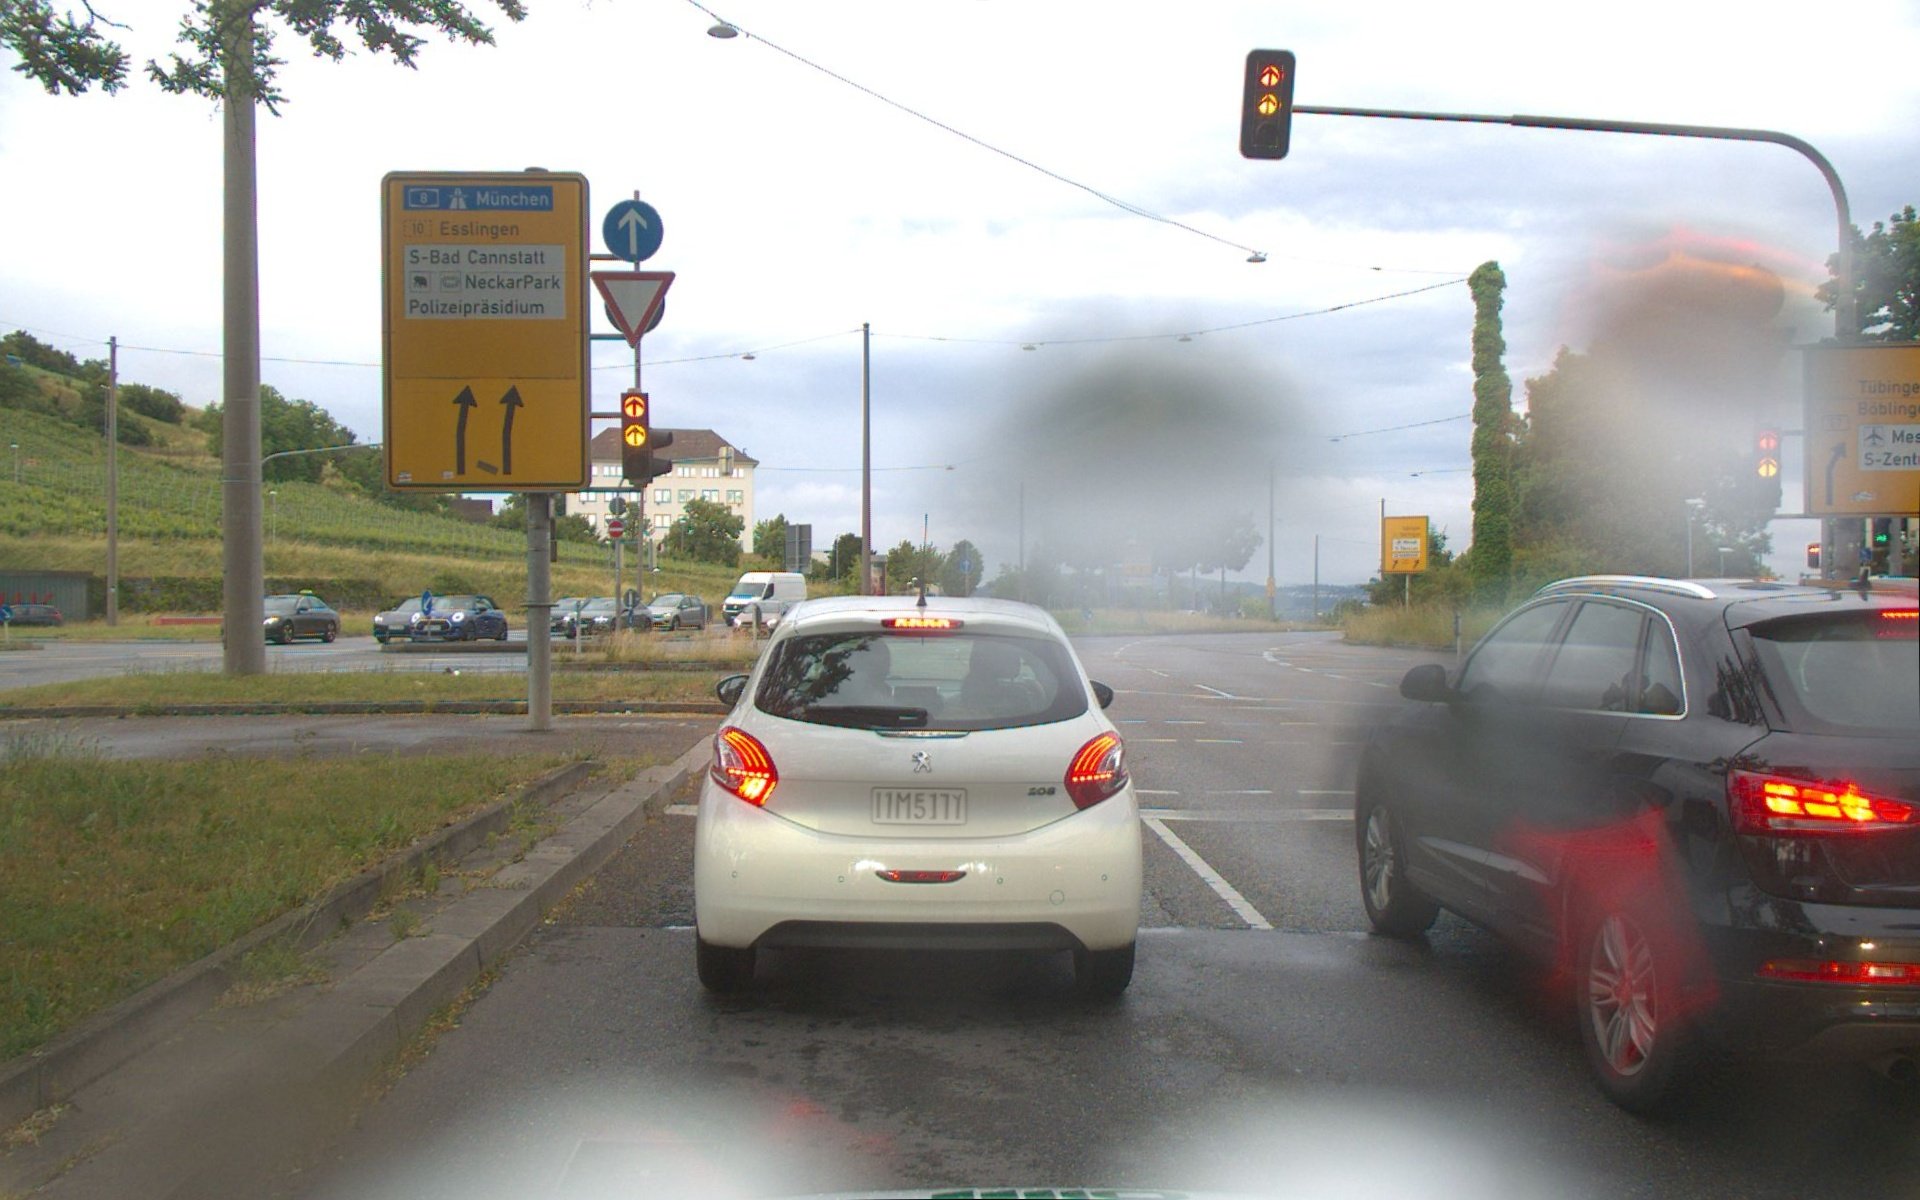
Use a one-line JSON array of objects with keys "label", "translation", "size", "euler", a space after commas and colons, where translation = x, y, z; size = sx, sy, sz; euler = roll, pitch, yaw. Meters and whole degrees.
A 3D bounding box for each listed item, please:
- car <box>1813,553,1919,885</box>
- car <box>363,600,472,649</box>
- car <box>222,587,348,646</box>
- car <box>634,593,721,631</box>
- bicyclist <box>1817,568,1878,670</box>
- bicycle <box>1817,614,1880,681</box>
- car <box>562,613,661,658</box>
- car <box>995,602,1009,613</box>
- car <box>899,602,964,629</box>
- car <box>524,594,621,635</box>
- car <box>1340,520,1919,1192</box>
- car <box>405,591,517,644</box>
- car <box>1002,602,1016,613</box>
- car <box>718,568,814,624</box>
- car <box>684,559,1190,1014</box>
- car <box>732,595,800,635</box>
[{"label": "car", "translation": [5.899, 0.645, 7.232], "size": [1.827, 1.703, 4.563], "euler": [1, 1, -2]}, {"label": "car", "translation": [-17.068, 0.764, 52.253], "size": [1.748, 1.420, 3.884], "euler": [2, 0, 7]}, {"label": "car", "translation": [-20.329, 0.484, 49.993], "size": [1.791, 1.652, 4.567], "euler": [2, 0, 1]}, {"label": "car", "translation": [-12.604, 0.556, 73.993], "size": [1.953, 1.603, 4.195], "euler": [2, 0, 21]}, {"label": "bicyclist", "translation": [14.472, 0.310, 26.990], "size": [0.793, 1.611, 1.022], "euler": [1, -1, 26]}, {"label": "bicycle", "translation": [14.470, 0.748, 26.979], "size": [0.793, 1.040, 2.326], "euler": [-1, -1, 26]}, {"label": "car", "translation": [-12.670, 1.262, 60.456], "size": [1.860, 1.515, 4.896], "euler": [1, 0, 10]}, {"label": "car", "translation": [6.243, 1.103, 245.559], "size": [1.804, 1.512, 3.997], "euler": [0, 0, -3]}, {"label": "car", "translation": [-1.689, 0.945, 99.887], "size": [1.958, 1.539, 4.221], "euler": [2, -1, 32]}, {"label": "car", "translation": [-15.180, 0.528, 64.996], "size": [1.785, 1.498, 4.672], "euler": [0, 1, 14]}, {"label": "car", "translation": [2.867, 0.660, 6.109], "size": [1.846, 1.623, 4.112], "euler": [2, 0, -2]}, {"label": "car", "translation": [-14.395, 0.534, 47.927], "size": [1.749, 1.420, 3.884], "euler": [1, -1, 5]}, {"label": "car", "translation": [7.010, 1.076, 237.192], "size": [1.804, 1.512, 3.997], "euler": [0, 0, -3]}, {"label": "car", "translation": [-9.701, -0.158, 83.256], "size": [1.953, 2.604, 6.168], "euler": [2, -1, 22]}, {"label": "car", "translation": [-0.130, 0.641, 7.564], "size": [1.683, 1.515, 3.998], "euler": [1, 0, -2]}, {"label": "car", "translation": [-7.249, 0.571, 62.171], "size": [1.738, 1.450, 4.376], "euler": [0, -1, 4]}]
